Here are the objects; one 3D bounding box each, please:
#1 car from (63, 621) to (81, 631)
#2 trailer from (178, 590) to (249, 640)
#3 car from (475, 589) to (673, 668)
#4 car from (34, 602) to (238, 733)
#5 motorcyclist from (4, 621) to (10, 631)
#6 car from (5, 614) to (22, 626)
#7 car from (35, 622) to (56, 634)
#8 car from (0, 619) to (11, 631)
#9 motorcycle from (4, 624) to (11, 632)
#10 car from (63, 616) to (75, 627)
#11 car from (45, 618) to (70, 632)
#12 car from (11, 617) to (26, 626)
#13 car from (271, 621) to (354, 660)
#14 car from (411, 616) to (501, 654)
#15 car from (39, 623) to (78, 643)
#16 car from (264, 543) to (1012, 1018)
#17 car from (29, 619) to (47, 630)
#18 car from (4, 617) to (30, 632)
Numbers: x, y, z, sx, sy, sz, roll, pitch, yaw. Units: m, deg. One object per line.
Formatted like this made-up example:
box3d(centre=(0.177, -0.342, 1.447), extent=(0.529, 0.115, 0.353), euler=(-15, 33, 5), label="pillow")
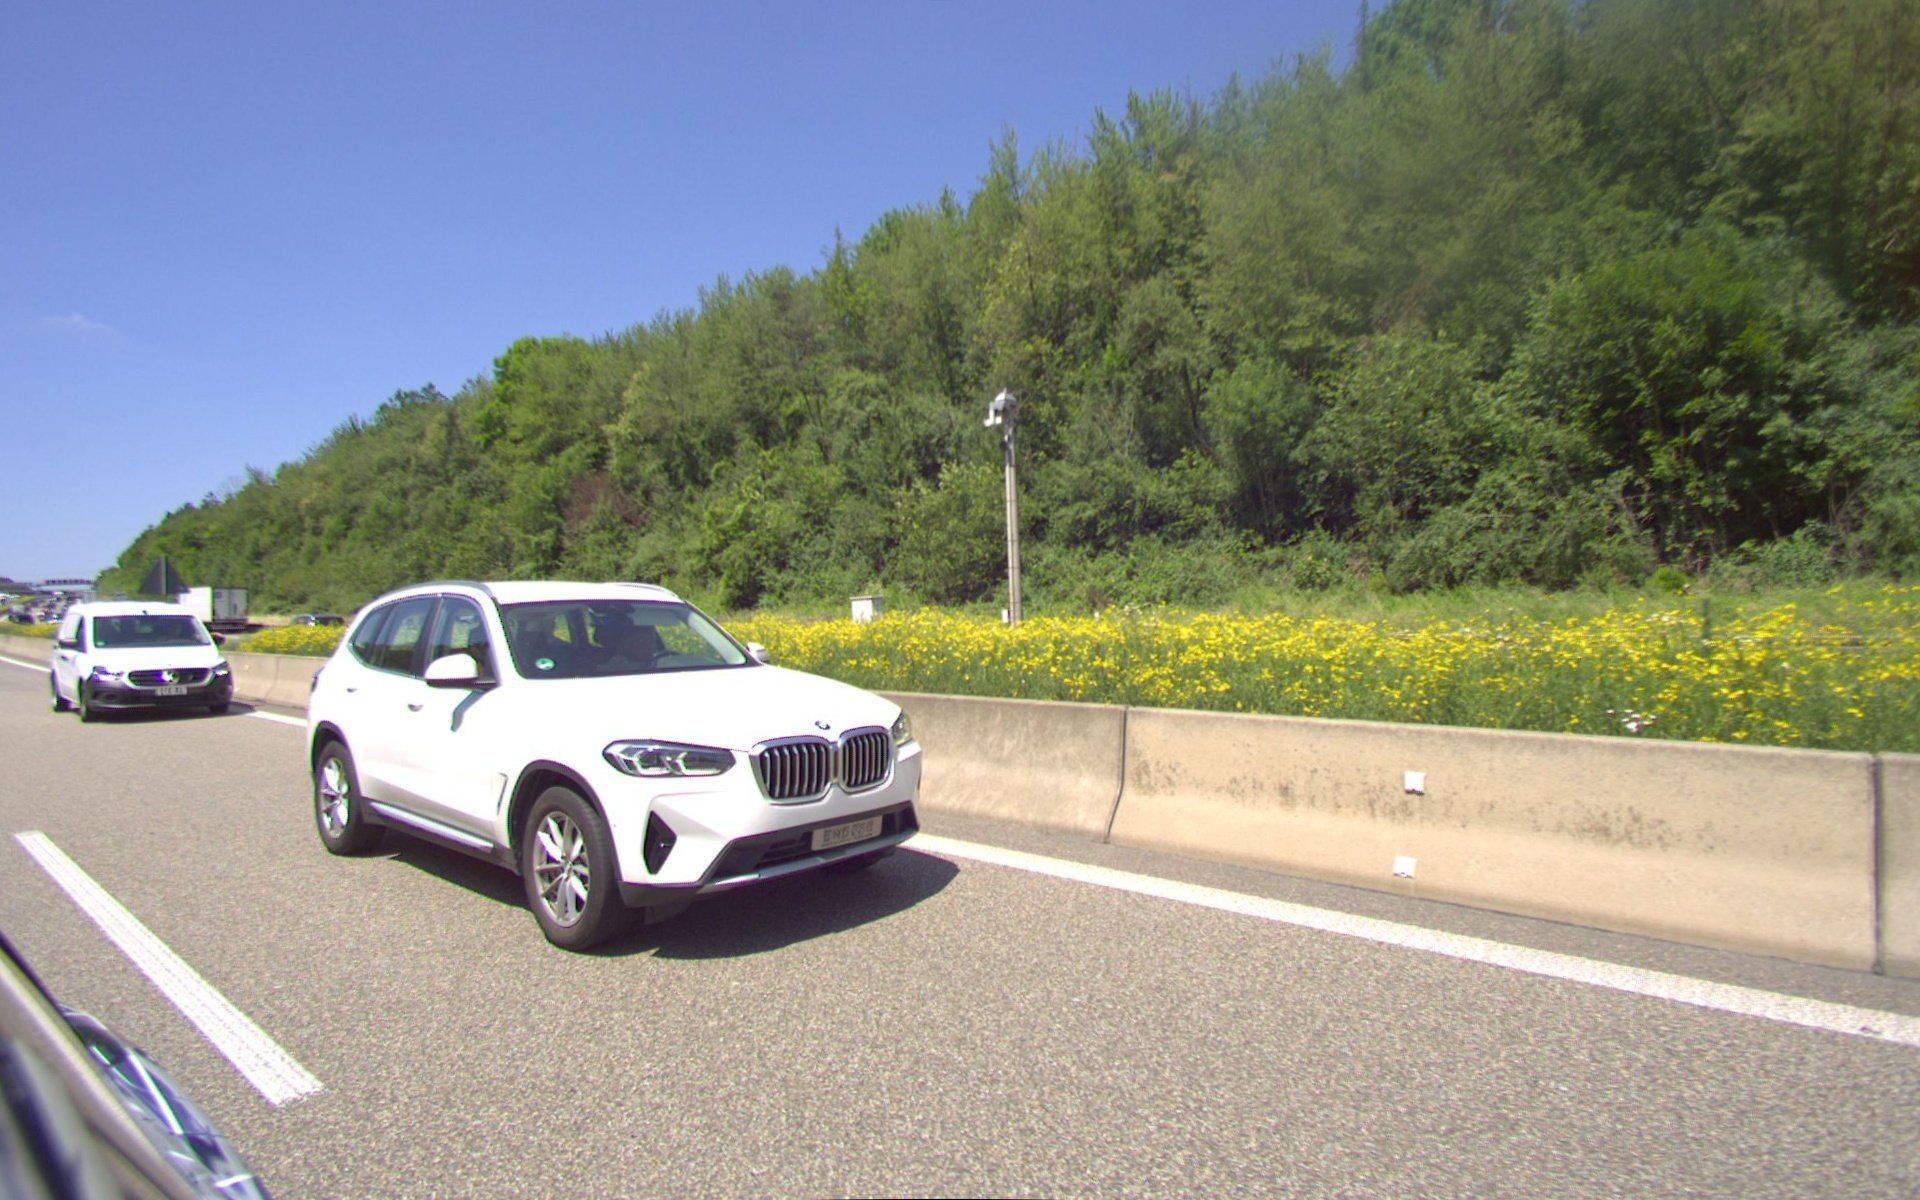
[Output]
box3d(centre=(-141.502, 4.119, 161.243), extent=(1.970, 1.519, 4.003), euler=(0, -2, -44), label="car")
box3d(centre=(-67.279, 1.321, 91.052), extent=(13.933, 4.239, 2.685), euler=(0, 0, 43), label="trailer")
box3d(centre=(-8.275, 0.549, 21.467), extent=(4.873, 1.484, 1.972), euler=(0, 0, 43), label="car")
box3d(centre=(-13.407, 0.993, 16.355), extent=(4.670, 1.826, 1.747), euler=(-2, -1, 40), label="car")
box3d(centre=(-130.198, 3.488, 138.253), extent=(0.577, 1.344, 0.616), euler=(-1, -1, 42), label="motorcyclist")
box3d(centre=(-170.307, 3.552, 182.049), extent=(4.901, 2.029, 1.971), euler=(0, 0, 44), label="car")
box3d(centre=(-135.557, 4.152, 150.056), extent=(4.000, 1.741, 1.972), euler=(-1, -1, 43), label="car")
box3d(centre=(-144.221, 3.806, 152.174), extent=(4.000, 1.763, 1.972), euler=(-1, -1, 43), label="car")
box3d(centre=(-130.135, 3.874, 138.233), extent=(1.467, 1.041, 0.617), euler=(-1, -1, 43), label="motorcycle")
box3d(centre=(-167.394, 4.036, 190.145), extent=(1.613, 2.029, 4.004), euler=(0, 0, -43), label="car")
box3d(centre=(-113.209, 3.125, 126.956), extent=(3.980, 1.654, 1.928), euler=(-2, -1, 43), label="car")
box3d(centre=(-180.470, 4.173, 194.005), extent=(4.001, 1.564, 1.971), euler=(-2, -1, 44), label="car")
box3d(centre=(-27.575, 1.681, 43.071), extent=(3.999, 1.497, 1.972), euler=(0, 0, 42), label="car")
box3d(centre=(-21.285, 1.445, 42.718), extent=(4.169, 1.453, 1.973), euler=(0, 0, 41), label="car")
box3d(centre=(-67.740, 2.462, 76.012), extent=(4.135, 1.397, 1.606), euler=(-1, -1, 40), label="car")
box3d(centre=(-2.227, 0.698, 5.955), extent=(4.952, 1.707, 1.845), euler=(-2, -1, 40), label="car")
box3d(centre=(-158.550, 4.233, 174.064), extent=(4.000, 1.763, 1.972), euler=(-1, -1, 43), label="car")
box3d(centre=(-110.807, 2.921, 118.884), extent=(4.080, 1.691, 1.972), euler=(-2, -1, 42), label="car")
